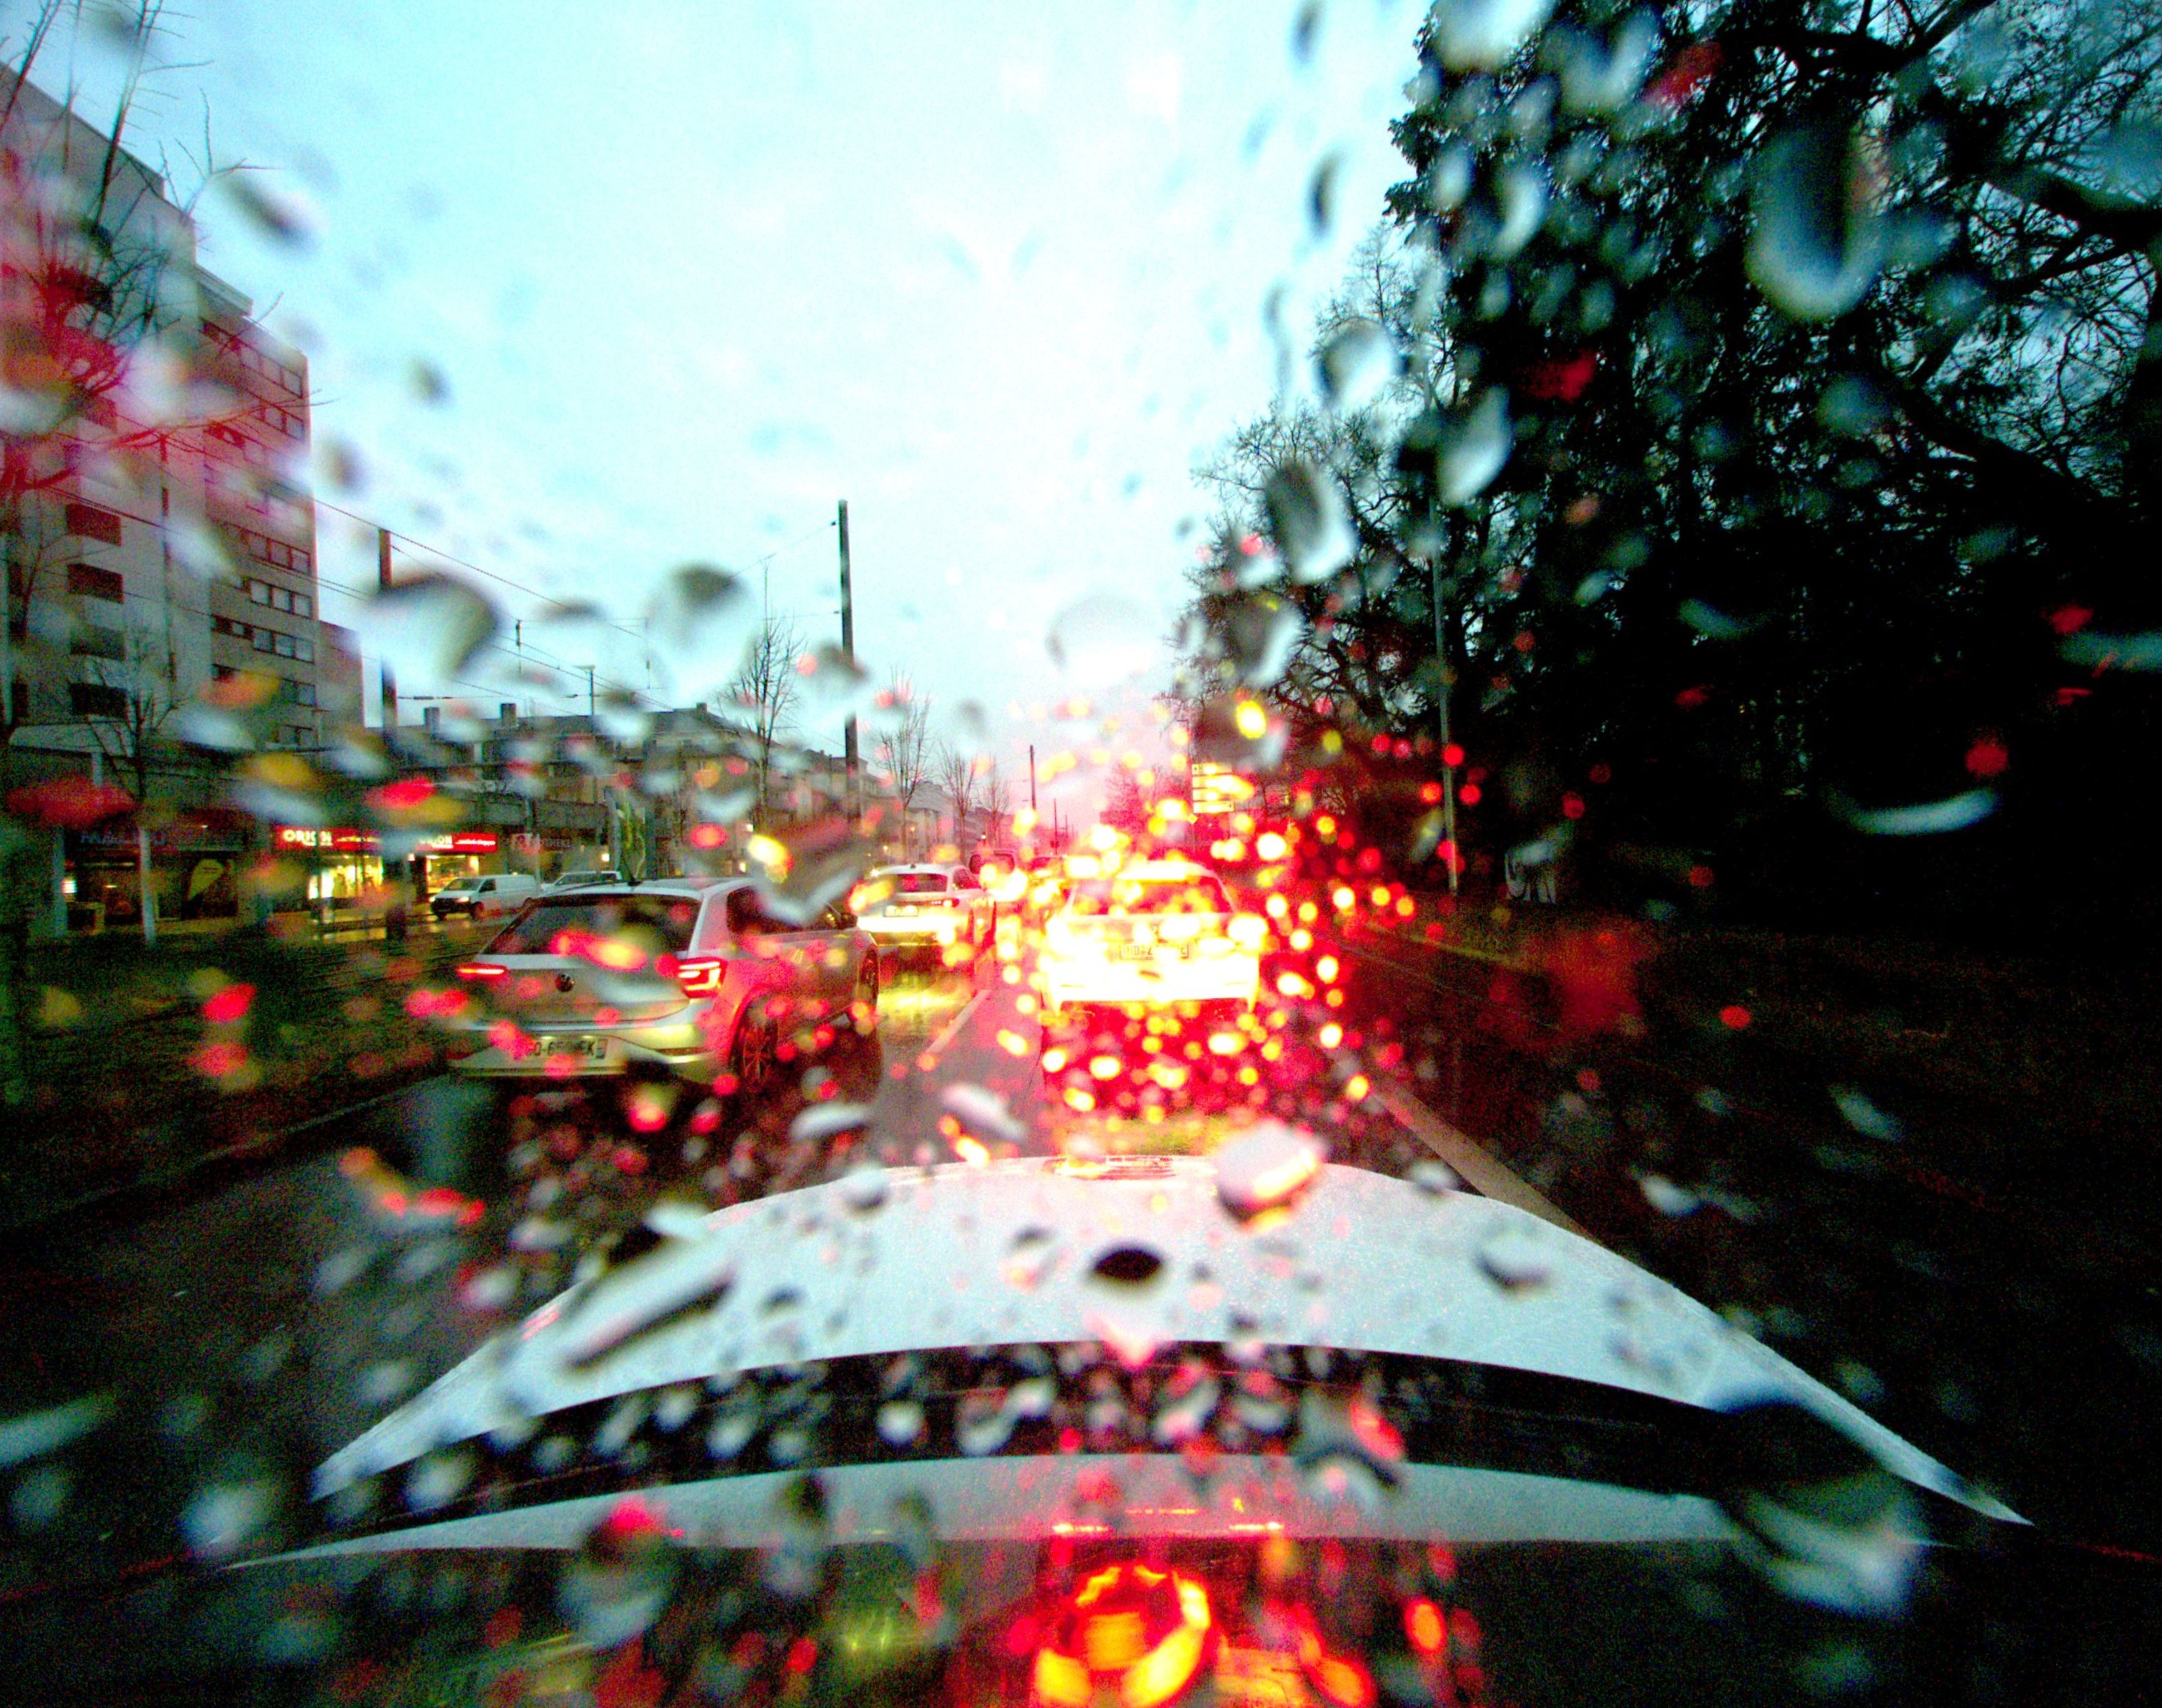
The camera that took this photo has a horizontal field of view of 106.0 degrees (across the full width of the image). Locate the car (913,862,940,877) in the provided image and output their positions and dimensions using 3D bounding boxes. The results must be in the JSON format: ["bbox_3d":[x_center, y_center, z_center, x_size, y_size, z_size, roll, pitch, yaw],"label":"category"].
[{"bbox_3d":[-16.130,1.601,85.134,1.987,1.602,4.000,0,-1,1],"label":"car"}]

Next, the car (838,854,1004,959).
[{"bbox_3d":[-2.568,0.771,14.238,1.792,1.466,4.587,-3,0,2],"label":"car"}]

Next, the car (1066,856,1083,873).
[{"bbox_3d":[-0.564,0.849,66.460,1.359,1.316,2.715,0,-1,-1],"label":"car"}]

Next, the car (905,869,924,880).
[{"bbox_3d":[-20.328,2.490,99.337,1.688,1.277,4.141,-2,0,-4],"label":"car"}]

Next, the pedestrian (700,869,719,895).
[{"bbox_3d":[-29.258,2.217,64.197,0.949,2.013,1.014,-3,0,43],"label":"pedestrian"}]

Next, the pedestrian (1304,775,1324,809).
[{"bbox_3d":[14.742,-3.914,51.557,0.955,2.013,1.008,-2,0,1],"label":"pedestrian"}]

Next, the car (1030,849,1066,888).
[{"bbox_3d":[-1.437,0.618,35.868,1.501,1.653,2.843,0,-1,-2],"label":"car"}]

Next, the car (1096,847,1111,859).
[{"bbox_3d":[2.836,-0.111,101.952,1.731,1.419,4.147,-3,0,2],"label":"car"}]

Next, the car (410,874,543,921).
[{"bbox_3d":[-29.706,2.094,40.330,1.983,2.046,5.575,0,-1,6],"label":"car"}]

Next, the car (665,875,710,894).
[{"bbox_3d":[-40.675,3.141,84.318,3.744,1.942,1.838,0,-1,-7],"label":"car"}]

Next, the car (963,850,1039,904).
[{"bbox_3d":[-2.362,0.645,25.122,1.731,1.419,4.395,-3,0,2],"label":"car"}]

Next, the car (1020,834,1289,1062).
[{"bbox_3d":[0.600,0.668,8.290,1.855,1.556,4.940,-3,0,2],"label":"car"}]

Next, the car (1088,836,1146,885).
[{"bbox_3d":[1.165,0.205,26.936,1.731,1.419,3.704,-3,0,2],"label":"car"}]

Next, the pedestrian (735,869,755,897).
[{"bbox_3d":[-25.236,2.167,61.205,1.076,2.013,0.996,-2,0,-40],"label":"pedestrian"}]

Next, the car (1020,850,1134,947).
[{"bbox_3d":[0.002,0.737,15.169,1.793,1.511,3.897,-2,0,2],"label":"car"}]

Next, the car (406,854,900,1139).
[{"bbox_3d":[-2.796,0.781,6.463,1.687,1.533,4.001,-1,0,1],"label":"car"}]

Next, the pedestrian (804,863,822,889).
[{"bbox_3d":[-21.551,1.778,65.411,1.274,2.013,1.000,-2,0,-23],"label":"pedestrian"}]

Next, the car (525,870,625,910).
[{"bbox_3d":[-30.620,2.097,49.346,4.859,2.244,1.975,0,-1,-44],"label":"car"}]
